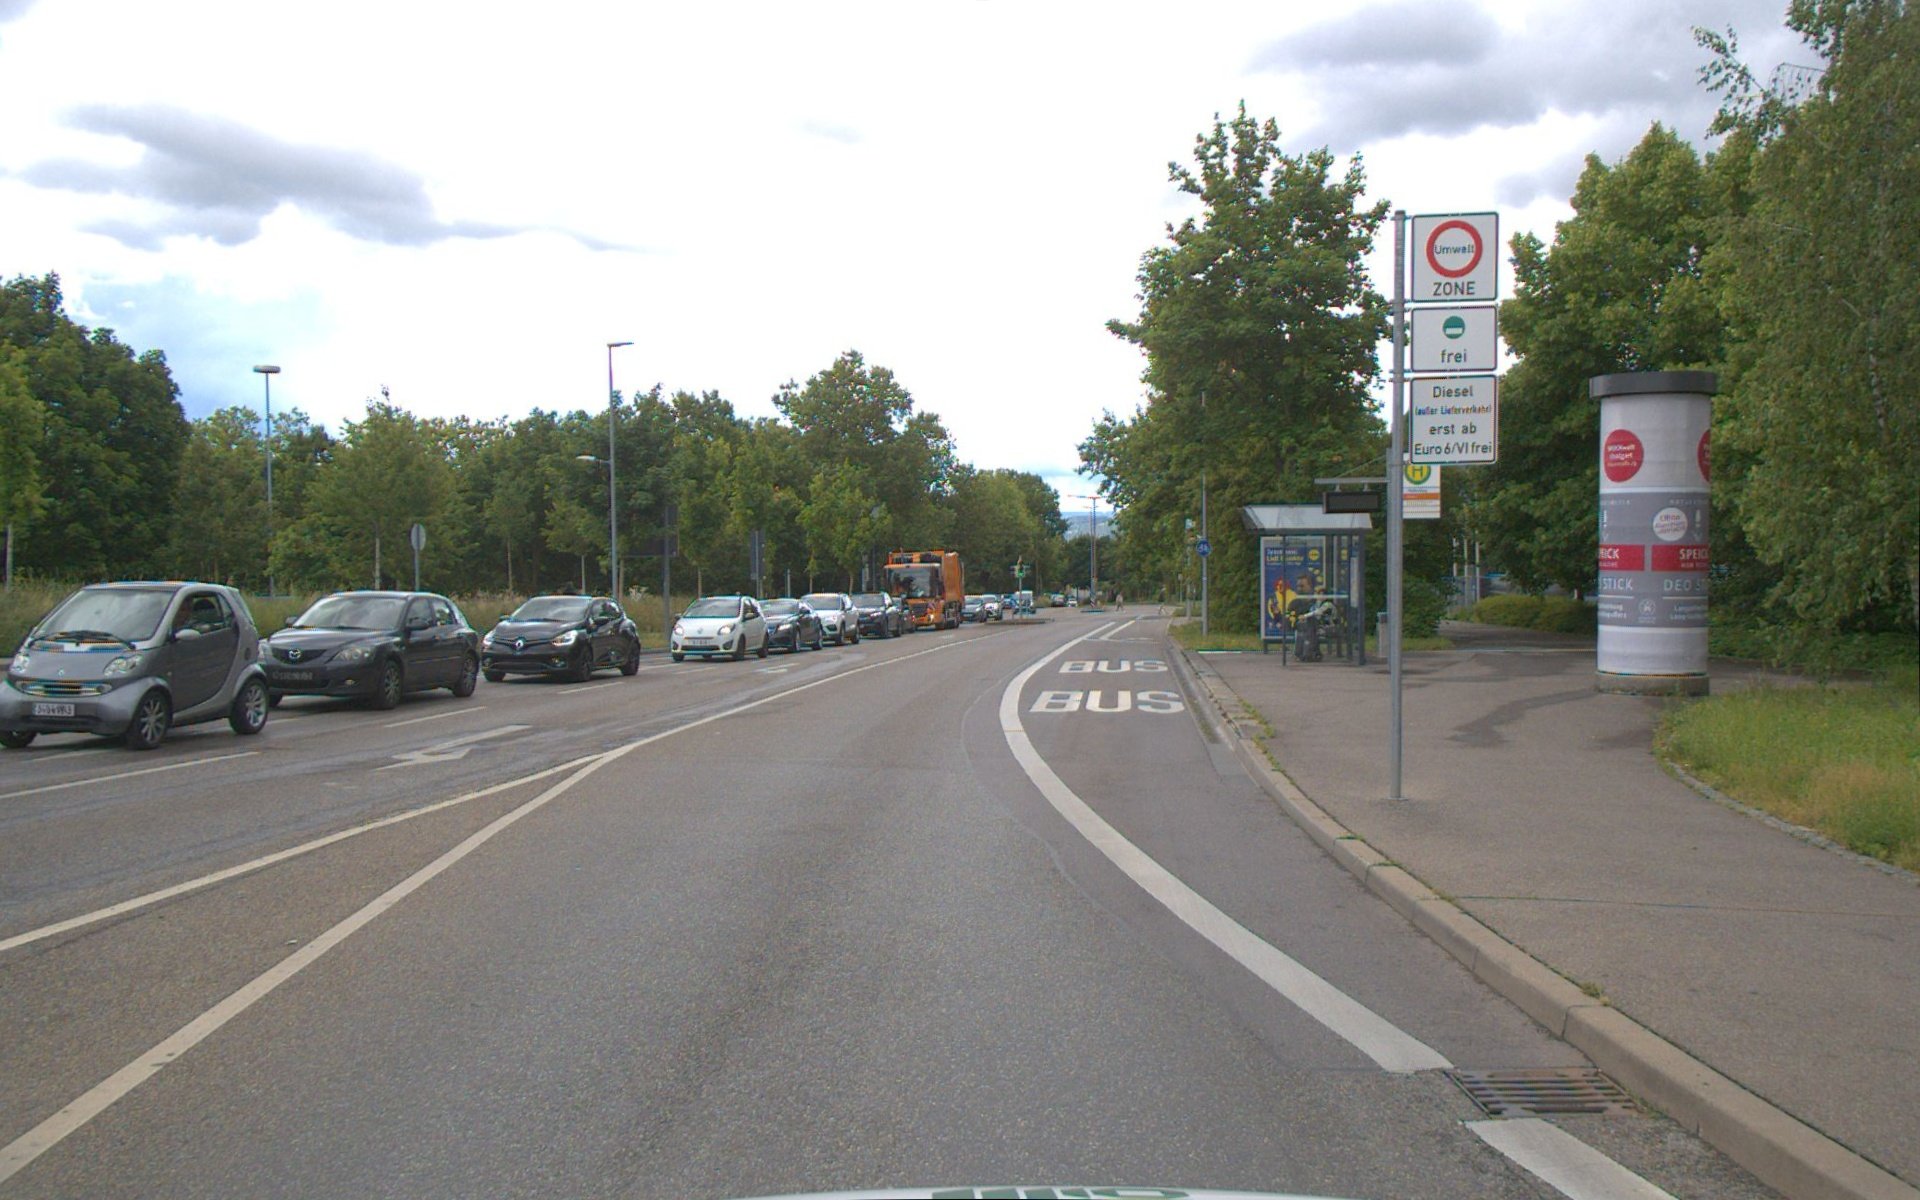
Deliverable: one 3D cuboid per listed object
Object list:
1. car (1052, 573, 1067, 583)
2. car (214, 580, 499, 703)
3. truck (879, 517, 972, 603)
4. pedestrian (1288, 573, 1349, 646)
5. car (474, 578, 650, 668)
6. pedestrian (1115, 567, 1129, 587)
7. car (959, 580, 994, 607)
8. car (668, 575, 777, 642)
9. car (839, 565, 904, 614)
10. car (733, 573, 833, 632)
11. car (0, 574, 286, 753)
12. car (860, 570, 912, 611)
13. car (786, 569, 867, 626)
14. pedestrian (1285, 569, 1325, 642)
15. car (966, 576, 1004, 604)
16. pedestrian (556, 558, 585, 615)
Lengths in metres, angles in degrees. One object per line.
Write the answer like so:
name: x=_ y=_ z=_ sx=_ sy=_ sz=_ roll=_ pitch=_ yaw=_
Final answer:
car: x=13.534 y=-2.997 z=225.261 sx=1.734 sy=1.327 sz=4.003 roll=-1 pitch=1 yaw=7
car: x=-7.710 y=0.465 z=21.635 sx=1.761 sy=1.355 sz=4.384 roll=-1 pitch=1 yaw=5
truck: x=-1.412 y=-1.808 z=73.981 sx=2.648 sy=3.547 sz=10.004 roll=-1 pitch=1 yaw=7
pedestrian: x=6.435 y=0.158 z=29.714 sx=0.767 sy=1.274 sz=0.763 roll=-1 pitch=2 yaw=-35
car: x=-6.727 y=0.336 z=28.379 sx=1.604 sy=1.355 sz=4.064 roll=-1 pitch=1 yaw=6
pedestrian: x=12.126 y=-1.696 z=123.720 sx=0.775 sy=1.489 sz=0.747 roll=-2 pitch=1 yaw=-12
car: x=0.929 y=-0.393 z=91.798 sx=1.514 sy=1.354 sz=3.657 roll=-3 pitch=1 yaw=6
car: x=-5.509 y=0.161 z=38.731 sx=1.604 sy=1.415 sz=3.766 roll=-1 pitch=1 yaw=6
car: x=-3.126 y=-0.401 z=59.058 sx=1.604 sy=1.613 sz=4.064 roll=-1 pitch=1 yaw=6
car: x=-4.687 y=0.032 z=44.512 sx=1.604 sy=1.415 sz=4.889 roll=-1 pitch=1 yaw=7
car: x=-7.959 y=0.554 z=16.181 sx=1.398 sy=1.553 sz=2.777 roll=-1 pitch=1 yaw=4
car: x=-2.857 y=-0.385 z=64.458 sx=1.403 sy=1.483 sz=3.898 roll=-1 pitch=1 yaw=7
car: x=-4.091 y=-0.111 z=51.397 sx=1.693 sy=1.613 sz=4.227 roll=-1 pitch=1 yaw=6
pedestrian: x=6.508 y=0.099 z=31.216 sx=0.712 sy=1.338 sz=0.589 roll=0 pitch=1 yaw=9
car: x=1.557 y=-0.635 z=99.642 sx=1.807 sy=1.547 sz=4.819 roll=-3 pitch=1 yaw=6
pedestrian: x=-12.852 y=-0.451 z=54.600 sx=0.705 sy=1.867 sz=0.678 roll=-1 pitch=1 yaw=7
